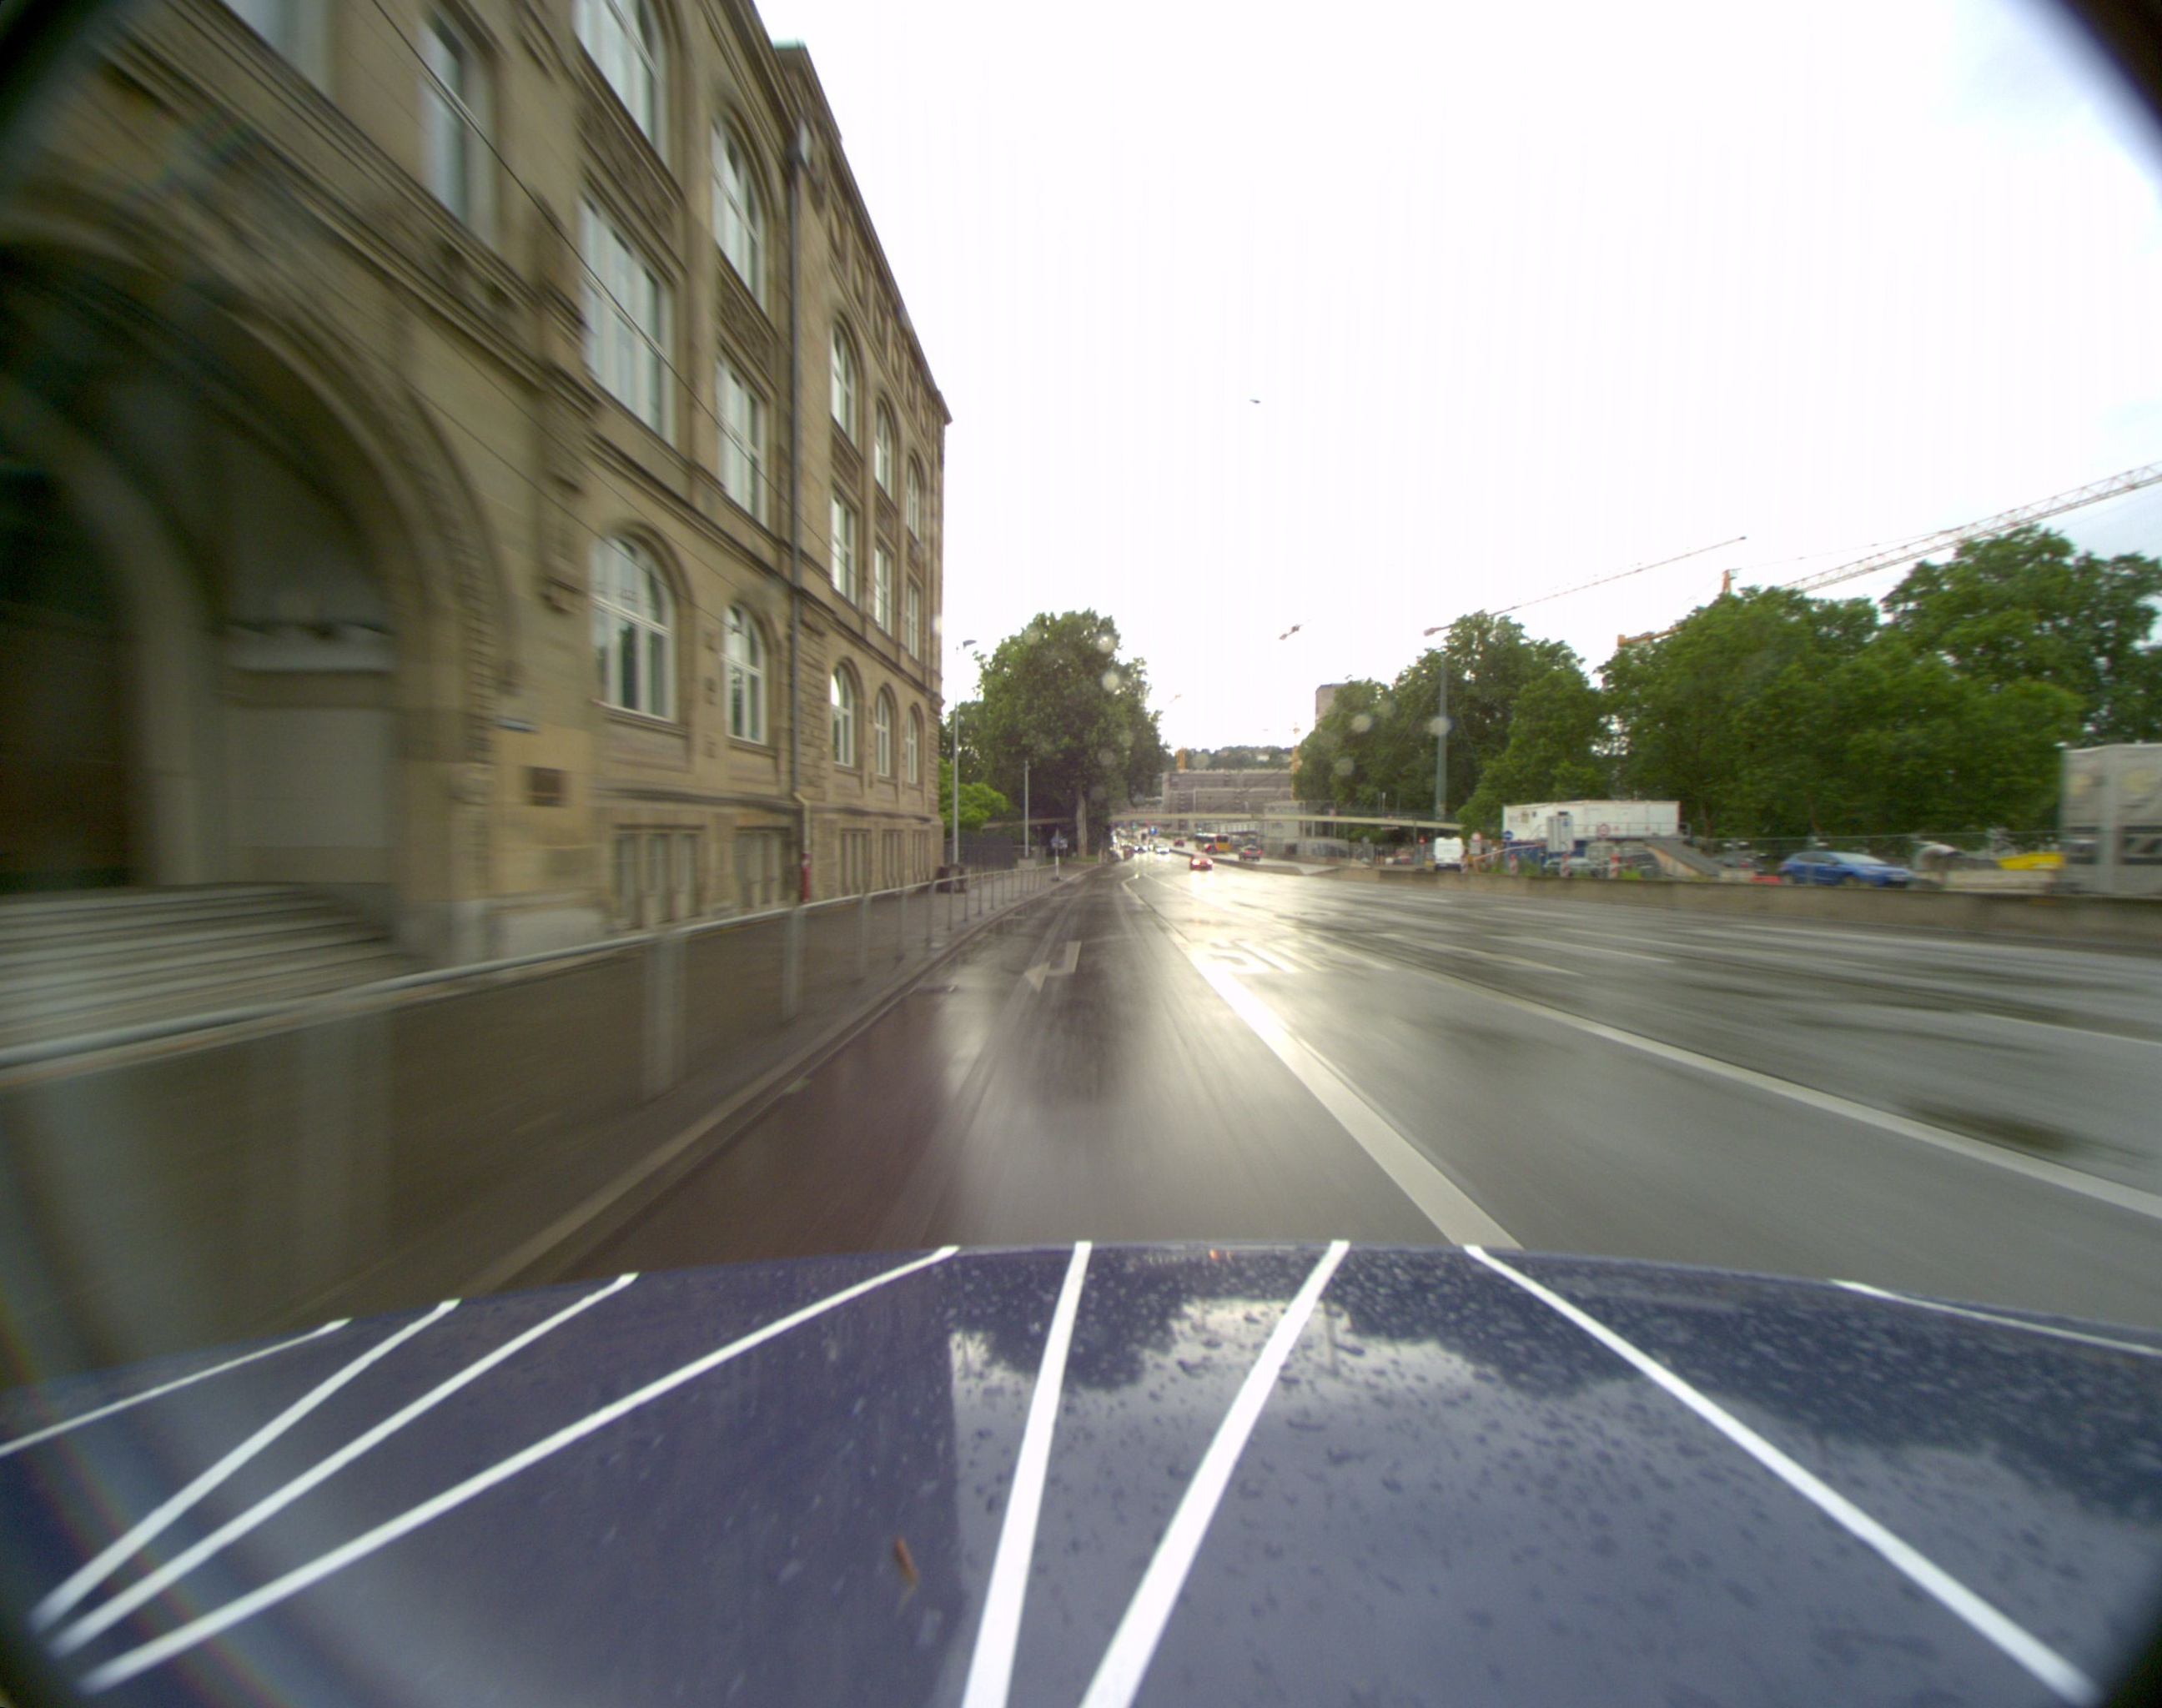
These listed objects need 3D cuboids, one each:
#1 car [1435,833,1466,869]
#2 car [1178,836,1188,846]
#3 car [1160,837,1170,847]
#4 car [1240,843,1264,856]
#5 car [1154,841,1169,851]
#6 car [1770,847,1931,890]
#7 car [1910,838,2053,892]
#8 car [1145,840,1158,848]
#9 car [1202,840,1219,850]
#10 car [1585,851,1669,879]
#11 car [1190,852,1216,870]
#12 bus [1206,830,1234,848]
[{"bbox_3d":[28.820,-0.229,59.356,2.075,2.722,4.601,0,1,25],"label":"car"},{"bbox_3d":[21.489,-2.682,159.900,1.998,2.002,4.001,0,0,5],"label":"car"},{"bbox_3d":[17.978,-2.586,161.948,1.998,2.002,4.001,0,0,5],"label":"car"},{"bbox_3d":[20.262,-0.531,90.086,1.840,1.567,4.439,0,0,0],"label":"car"},{"bbox_3d":[13.229,-1.352,125.462,1.987,1.567,4.439,0,0,0],"label":"car"},{"bbox_3d":[28.720,0.497,28.605,1.839,1.481,4.441,0,0,5],"label":"car"},{"bbox_3d":[42.142,0.481,35.730,1.998,2.370,4.000,0,0,1],"label":"car"},{"bbox_3d":[12.866,-1.819,139.118,1.987,1.567,4.439,0,0,0],"label":"car"},{"bbox_3d":[20.352,-1.421,119.375,1.840,1.567,4.439,0,0,0],"label":"car"},{"bbox_3d":[30.042,0.559,41.977,1.839,1.481,4.442,0,0,7],"label":"car"},{"bbox_3d":[10.877,0.582,67.993,1.689,1.543,4.000,0,0,1],"label":"car"},{"bbox_3d":[23.637,-2.477,129.861,3.270,2.923,8.953,-2,0,1],"label":"bus"}]
